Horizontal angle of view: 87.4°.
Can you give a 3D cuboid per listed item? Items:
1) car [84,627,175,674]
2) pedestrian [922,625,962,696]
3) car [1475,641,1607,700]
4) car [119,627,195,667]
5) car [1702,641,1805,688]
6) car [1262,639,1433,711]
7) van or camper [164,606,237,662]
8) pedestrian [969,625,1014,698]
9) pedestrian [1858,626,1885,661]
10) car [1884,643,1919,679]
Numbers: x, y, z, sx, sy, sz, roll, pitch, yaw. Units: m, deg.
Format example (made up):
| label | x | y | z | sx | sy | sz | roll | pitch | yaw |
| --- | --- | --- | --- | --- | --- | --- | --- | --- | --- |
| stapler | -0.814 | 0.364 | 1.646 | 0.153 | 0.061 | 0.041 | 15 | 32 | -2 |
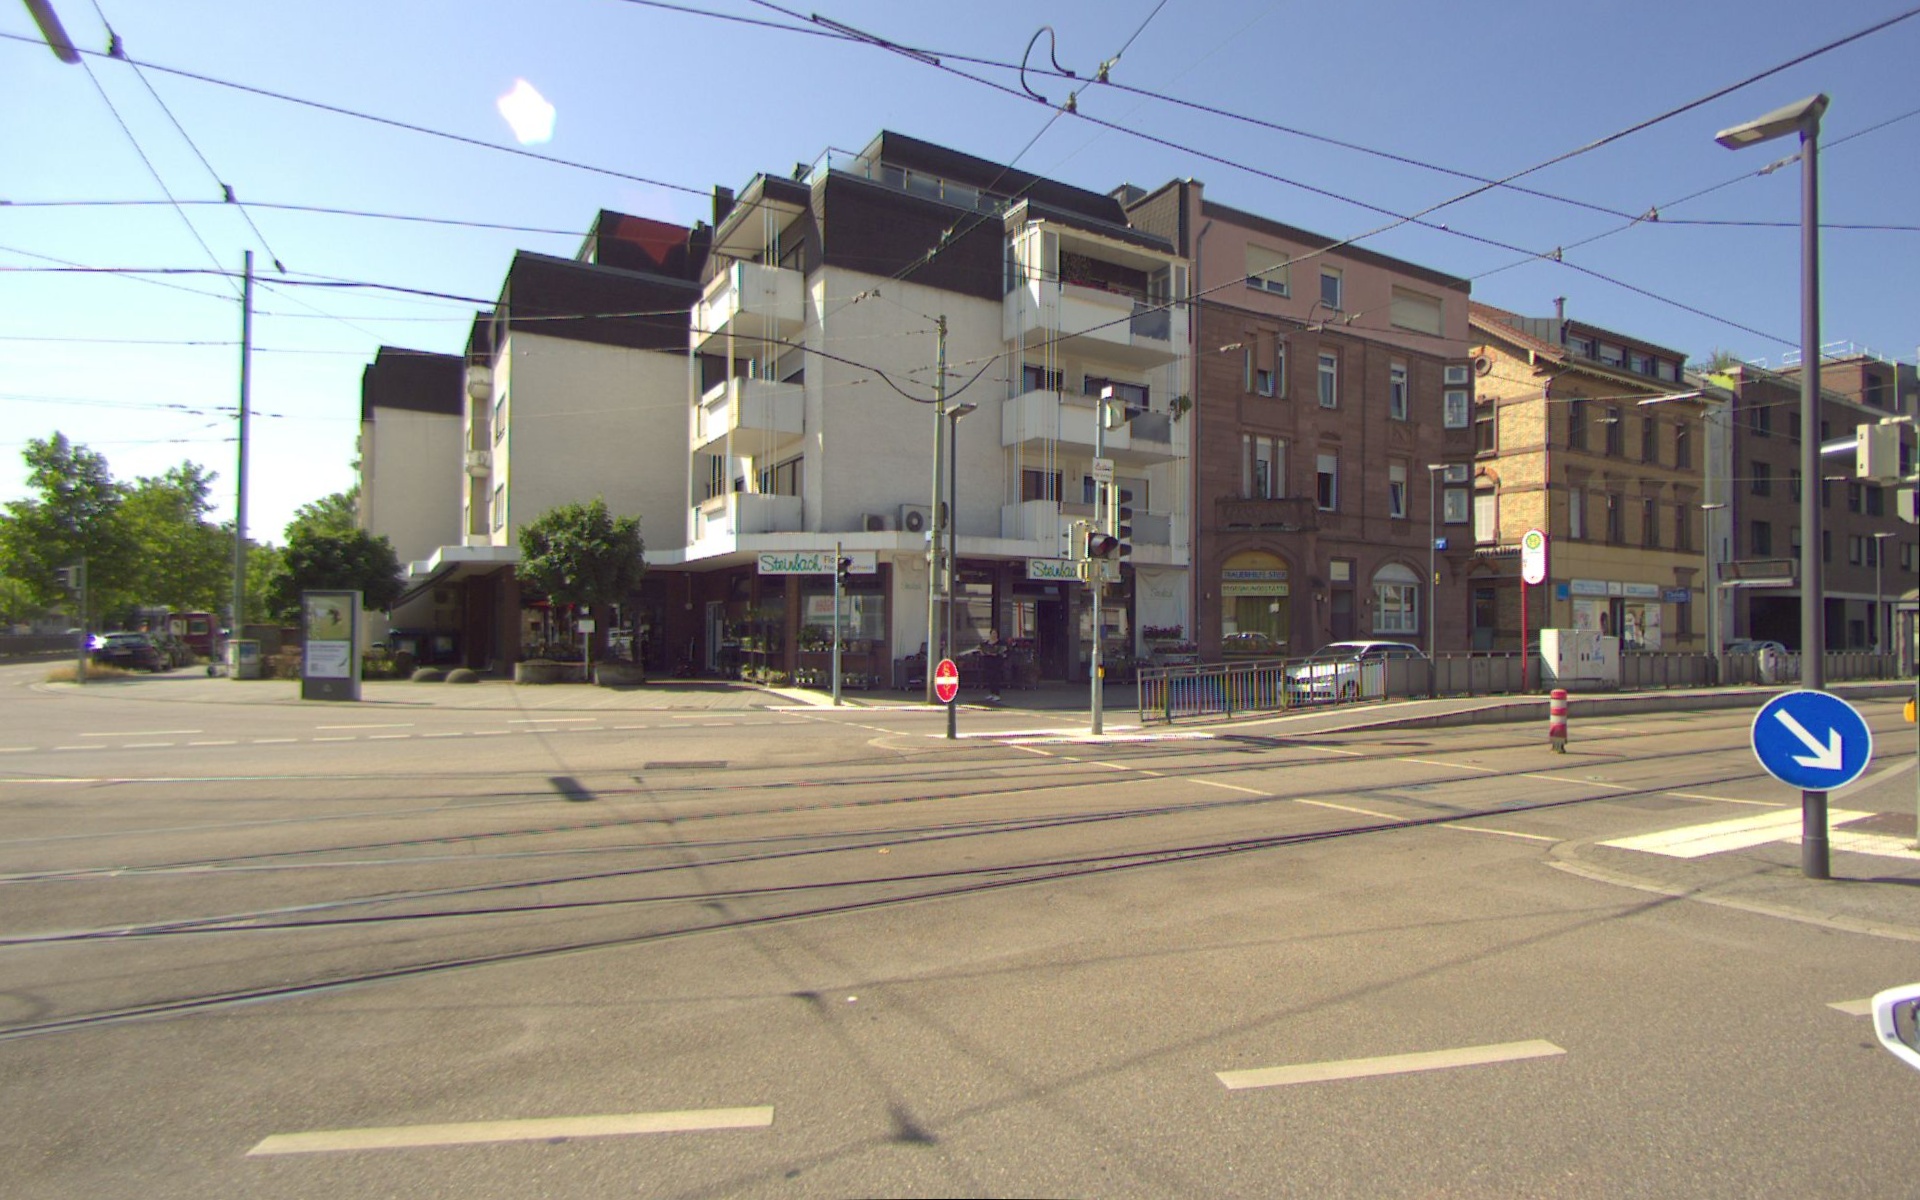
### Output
| label | x | y | z | sx | sy | sz | roll | pitch | yaw |
| --- | --- | --- | --- | --- | --- | --- | --- | --- | --- |
| car | -29.194 | 1.750 | 35.440 | 1.807 | 1.520 | 4.152 | 1 | -2 | -31 |
| pedestrian | -0.444 | 1.439 | 24.176 | 0.724 | 1.669 | 0.675 | 1 | -2 | -31 |
| car | 15.517 | 1.822 | 26.762 | 3.775 | 1.478 | 1.563 | 2 | -2 | -34 |
| car | -32.494 | 1.876 | 40.752 | 1.807 | 1.520 | 3.968 | 1 | -2 | -31 |
| car | 26.528 | 2.110 | 33.570 | 3.697 | 1.478 | 1.564 | 1 | -2 | -32 |
| car | 8.837 | 1.656 | 22.829 | 3.919 | 1.450 | 1.617 | 2 | -1 | -32 |
| van or camper | -38.232 | 1.705 | 50.663 | 2.349 | 2.659 | 4.851 | 1 | -2 | -31 |
| pedestrian | 0.734 | 1.435 | 23.538 | 0.674 | 1.669 | 0.872 | 2 | -2 | -36 |
| pedestrian | 47.951 | 2.314 | 52.841 | 0.953 | 1.814 | 0.721 | 1 | -3 | -31 |
| car | 41.550 | 2.616 | 43.282 | 3.891 | 1.478 | 1.564 | 1 | -2 | -32 |
